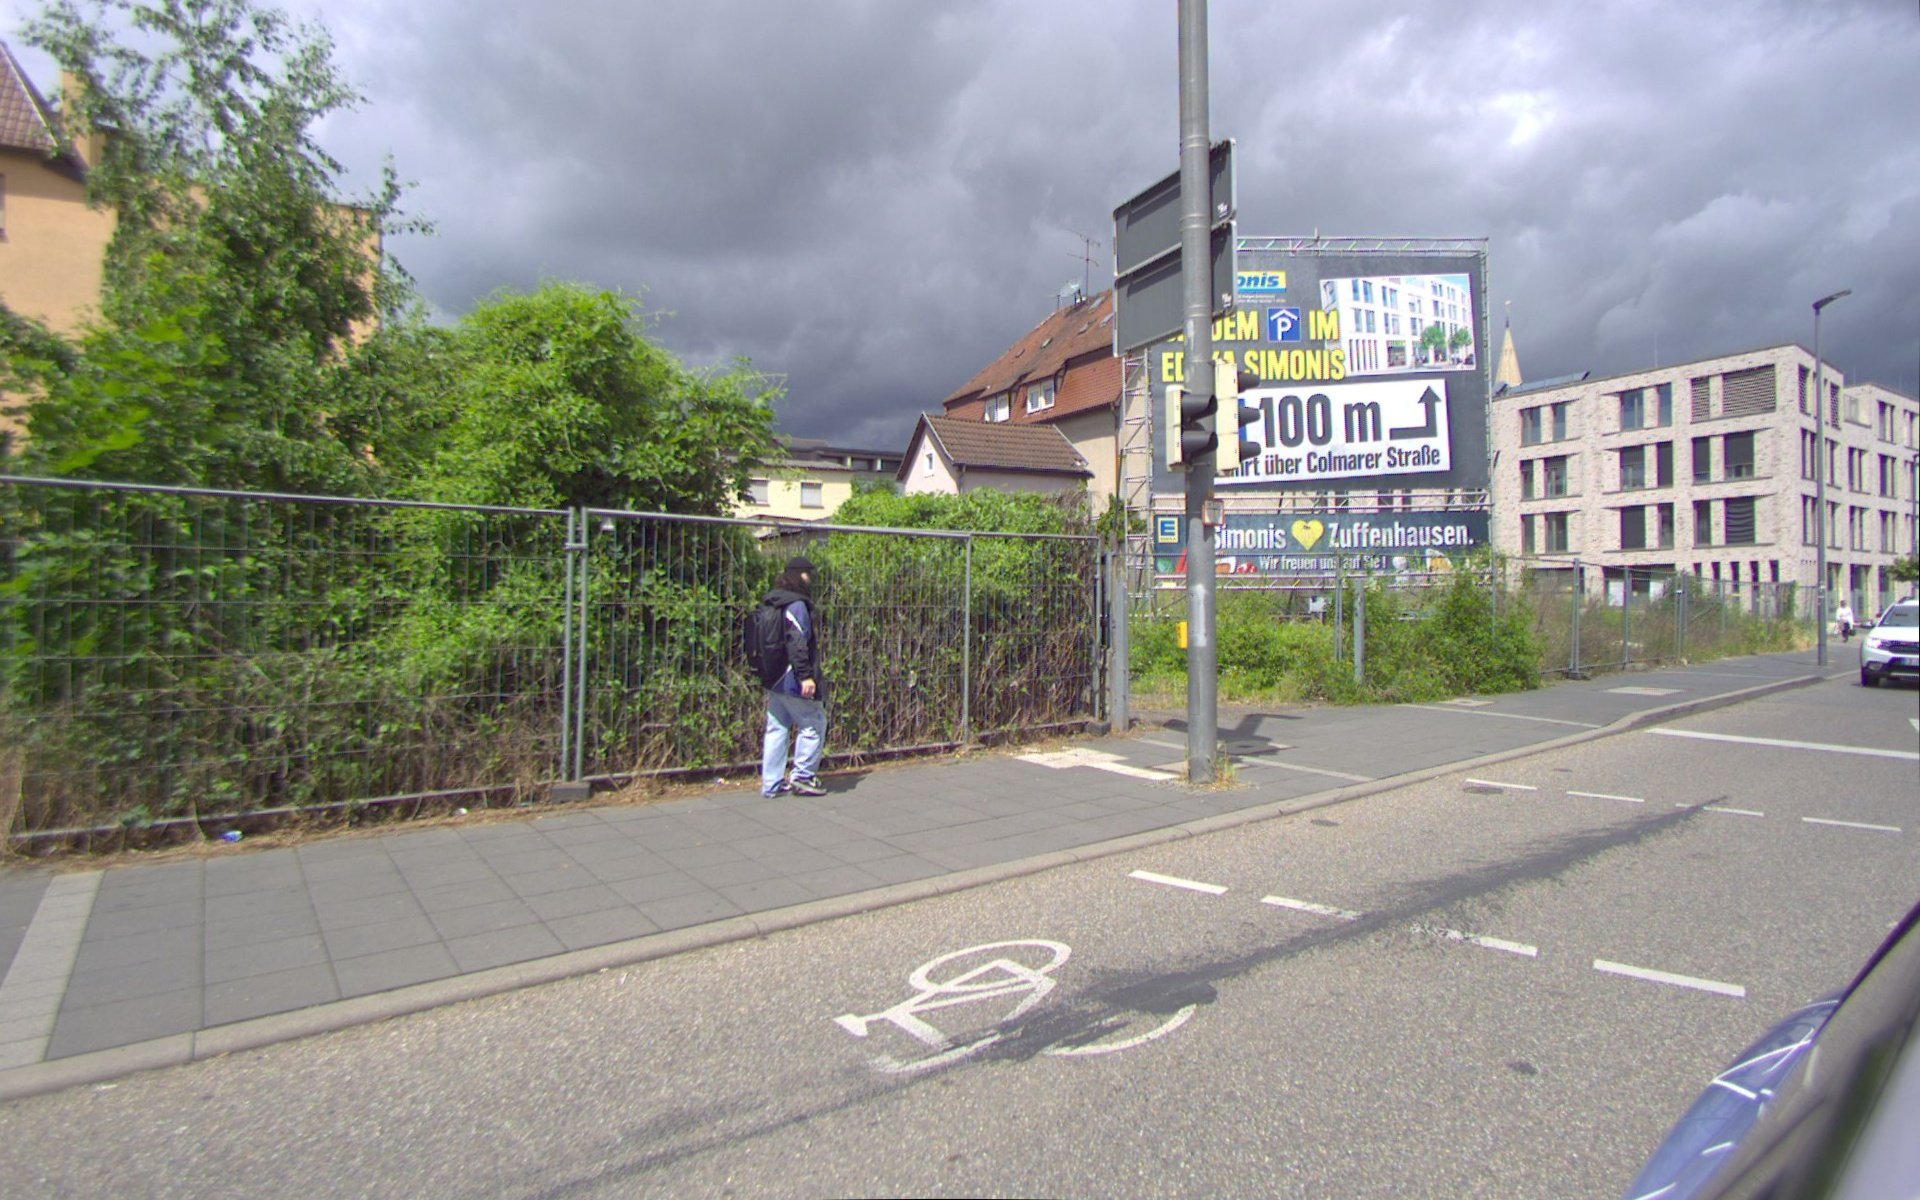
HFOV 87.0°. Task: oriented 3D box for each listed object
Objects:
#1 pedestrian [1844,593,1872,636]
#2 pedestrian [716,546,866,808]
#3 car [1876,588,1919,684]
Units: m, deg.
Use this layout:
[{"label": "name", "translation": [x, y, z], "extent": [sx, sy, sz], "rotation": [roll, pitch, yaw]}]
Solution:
[{"label": "pedestrian", "translation": [32.308, 0.505, 36.411], "extent": [0.769, 1.531, 0.673], "rotation": [1, 0, -41]}, {"label": "pedestrian", "translation": [-1.173, 0.488, 6.954], "extent": [0.762, 1.663, 0.768], "rotation": [2, 0, -29]}, {"label": "car", "translation": [17.439, 0.596, 17.726], "extent": [3.729, 1.569, 1.717], "rotation": [0, 2, -43]}]
